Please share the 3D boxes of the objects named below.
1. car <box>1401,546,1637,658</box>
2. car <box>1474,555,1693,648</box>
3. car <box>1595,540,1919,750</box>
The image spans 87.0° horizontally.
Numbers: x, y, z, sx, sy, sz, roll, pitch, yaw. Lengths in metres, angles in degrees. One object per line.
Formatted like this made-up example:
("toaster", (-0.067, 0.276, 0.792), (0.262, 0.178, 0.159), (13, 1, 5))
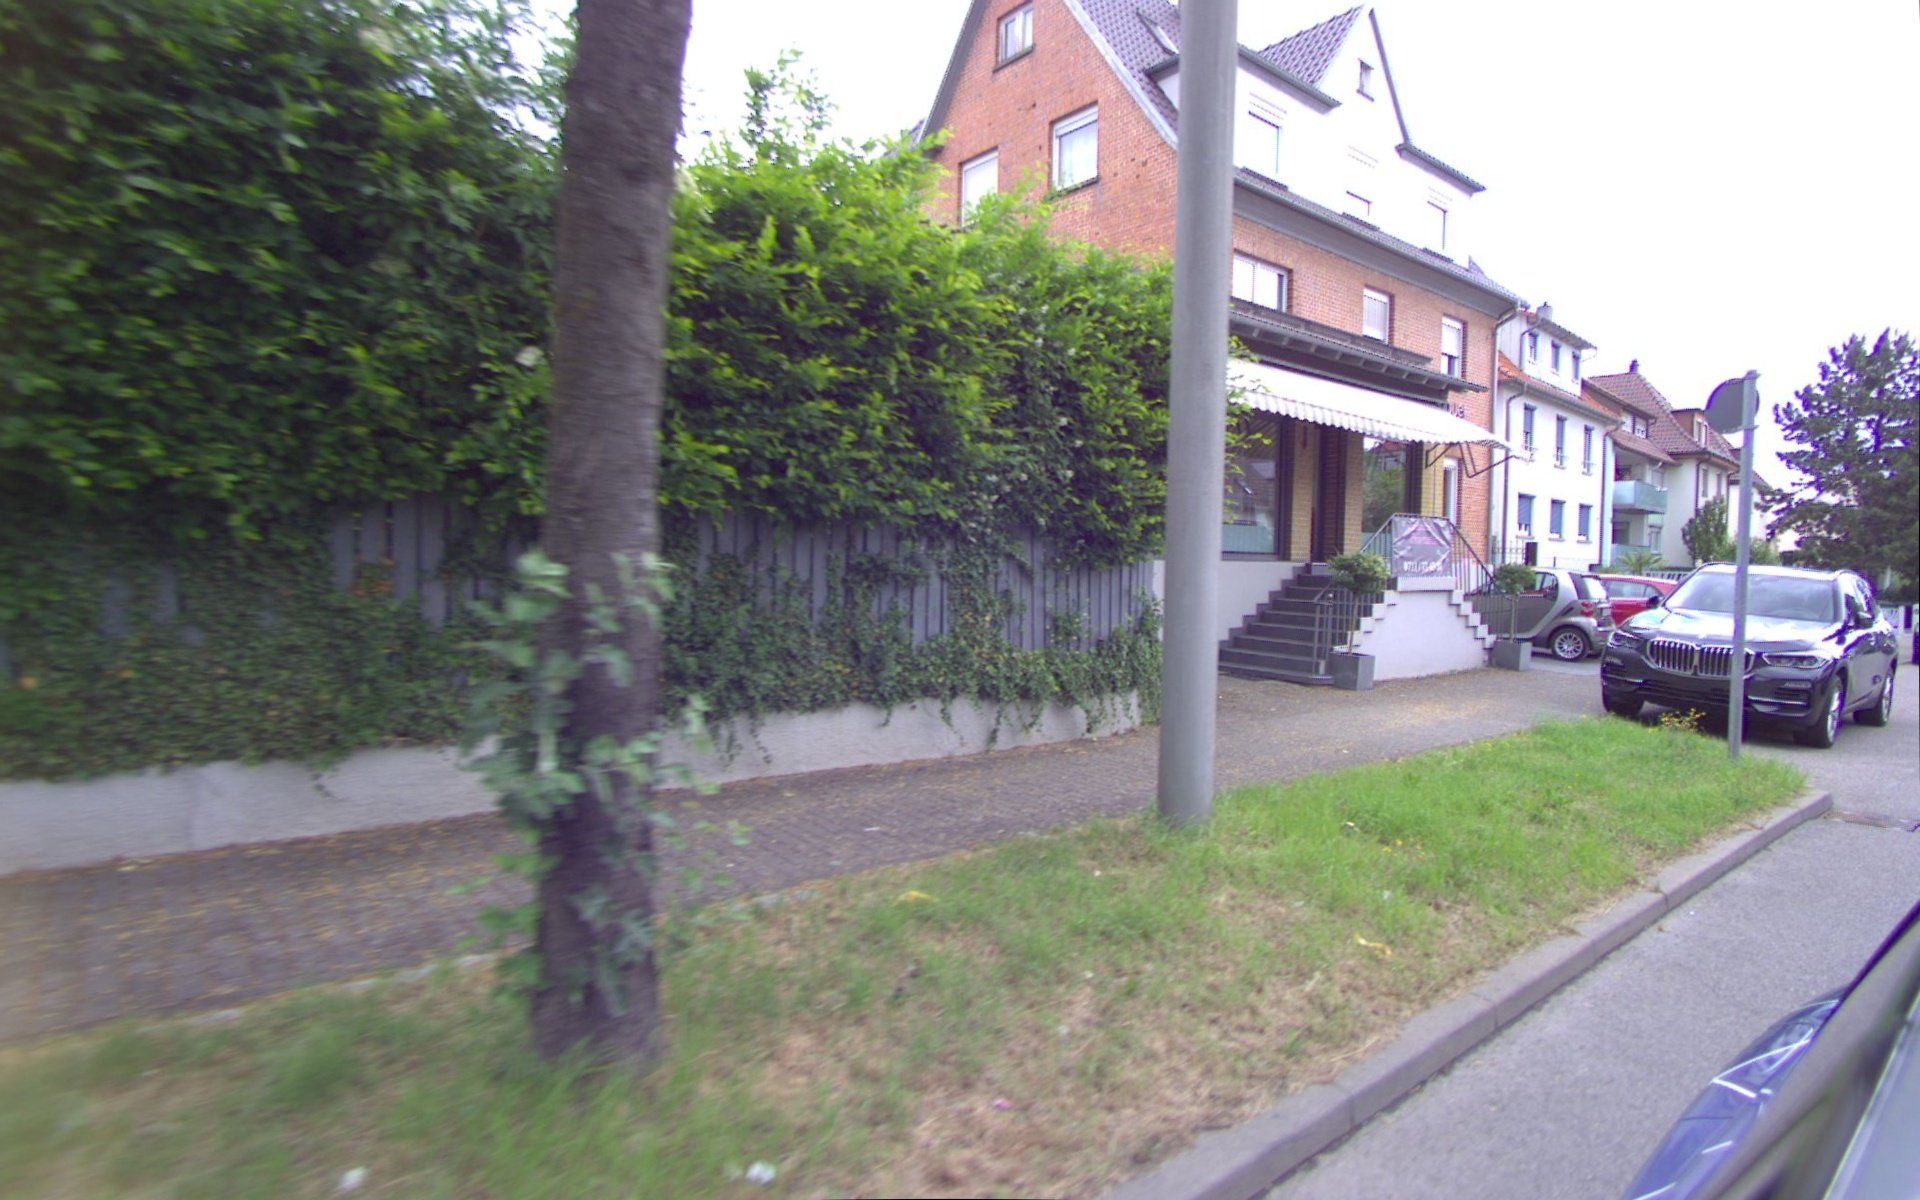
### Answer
("car", (10.056, -0.036, 18.353), (1.554, 1.653, 3.357), (0, 5, -44))
("car", (12.340, -0.024, 20.121), (3.354, 1.476, 1.722), (7, 5, 43))
("car", (9.166, 0.357, 11.358), (4.826, 1.859, 1.904), (0, 3, -39))
